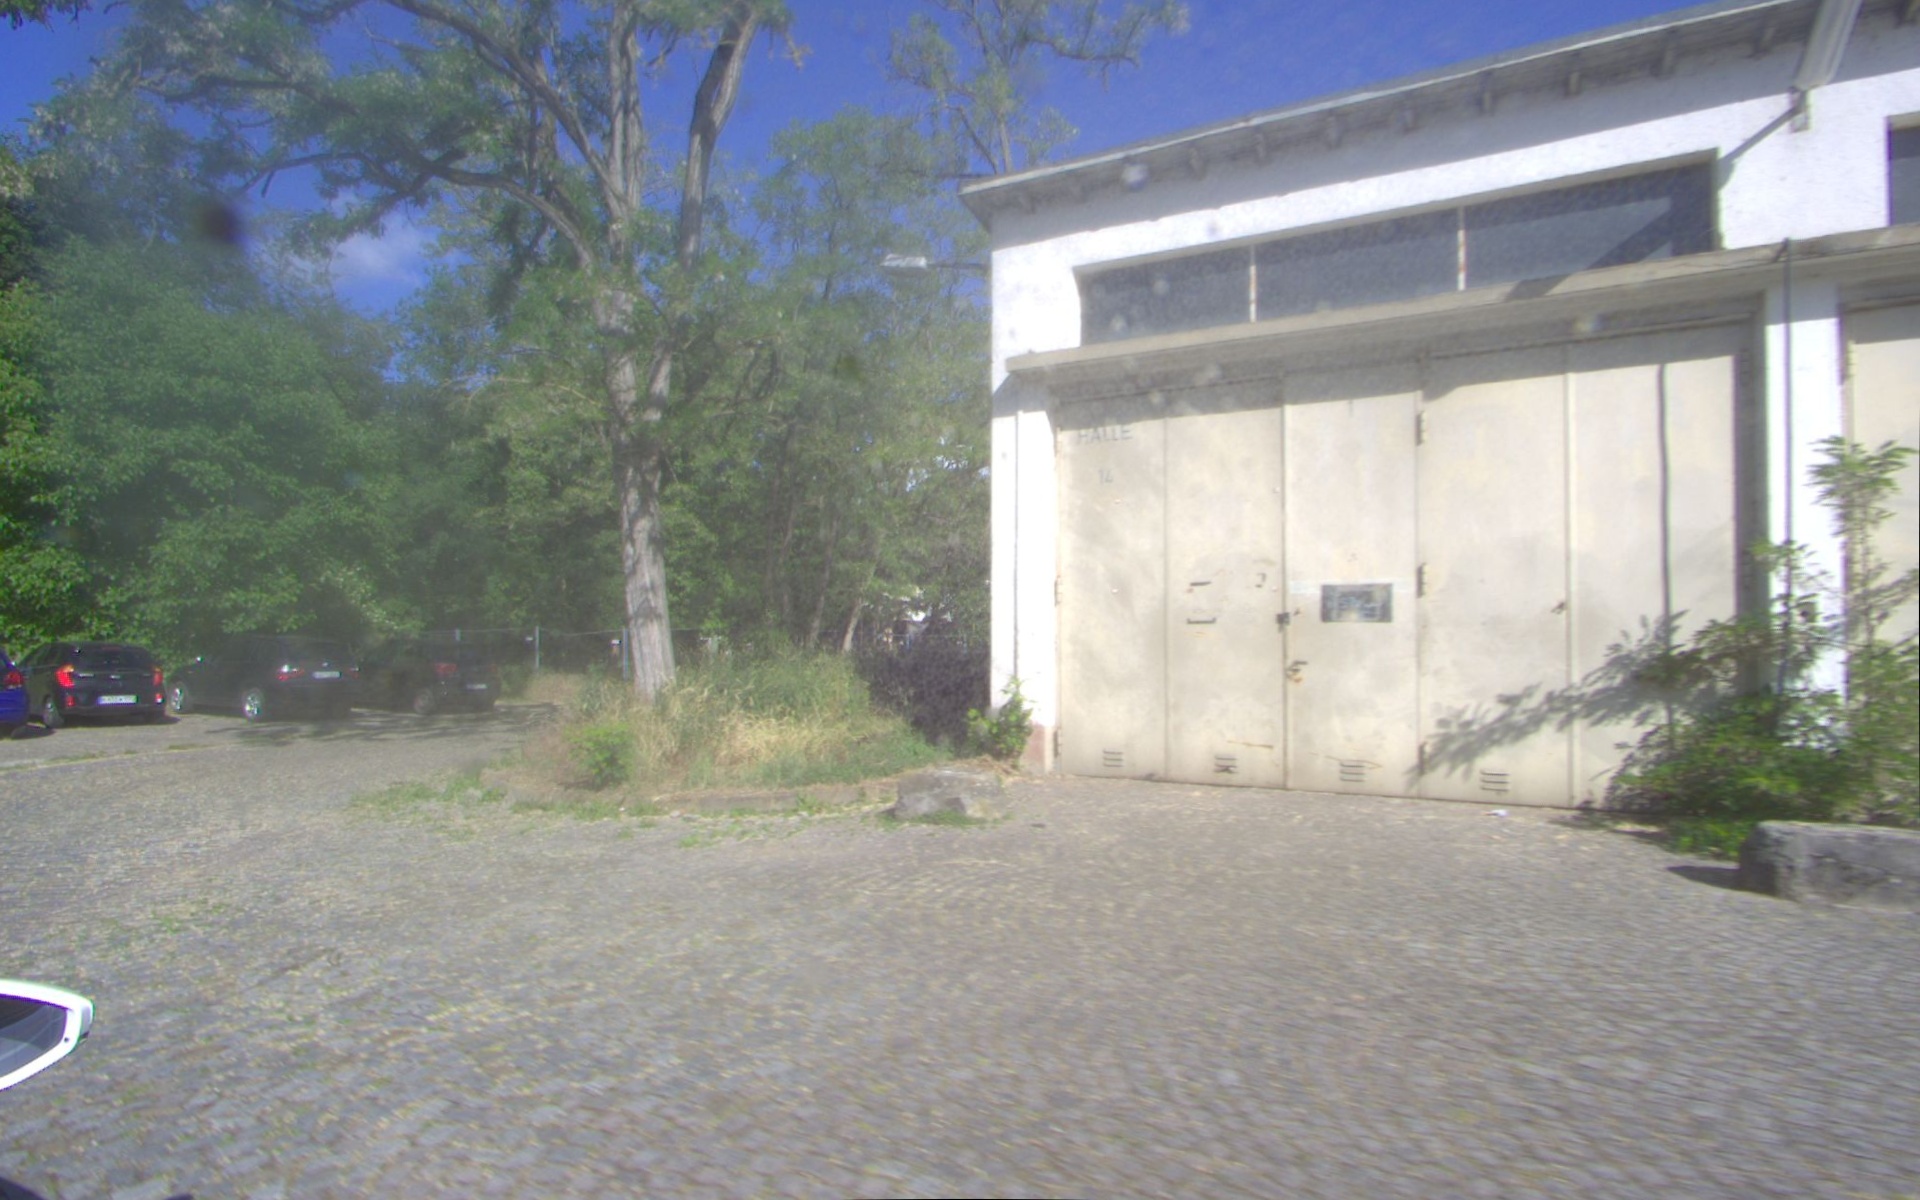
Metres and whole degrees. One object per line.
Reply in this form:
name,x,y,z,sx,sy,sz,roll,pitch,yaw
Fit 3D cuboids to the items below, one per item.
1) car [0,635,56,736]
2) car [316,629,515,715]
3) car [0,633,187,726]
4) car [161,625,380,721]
car,-16.048,1.256,15.594,3.732,1.476,1.779,0,-3,29
car,-12.668,1.606,23.282,4.201,1.610,1.825,3,-1,24
car,-15.836,1.390,18.174,3.673,1.469,1.736,0,-3,34
car,-14.219,1.450,20.625,4.204,1.651,1.875,2,-2,27
